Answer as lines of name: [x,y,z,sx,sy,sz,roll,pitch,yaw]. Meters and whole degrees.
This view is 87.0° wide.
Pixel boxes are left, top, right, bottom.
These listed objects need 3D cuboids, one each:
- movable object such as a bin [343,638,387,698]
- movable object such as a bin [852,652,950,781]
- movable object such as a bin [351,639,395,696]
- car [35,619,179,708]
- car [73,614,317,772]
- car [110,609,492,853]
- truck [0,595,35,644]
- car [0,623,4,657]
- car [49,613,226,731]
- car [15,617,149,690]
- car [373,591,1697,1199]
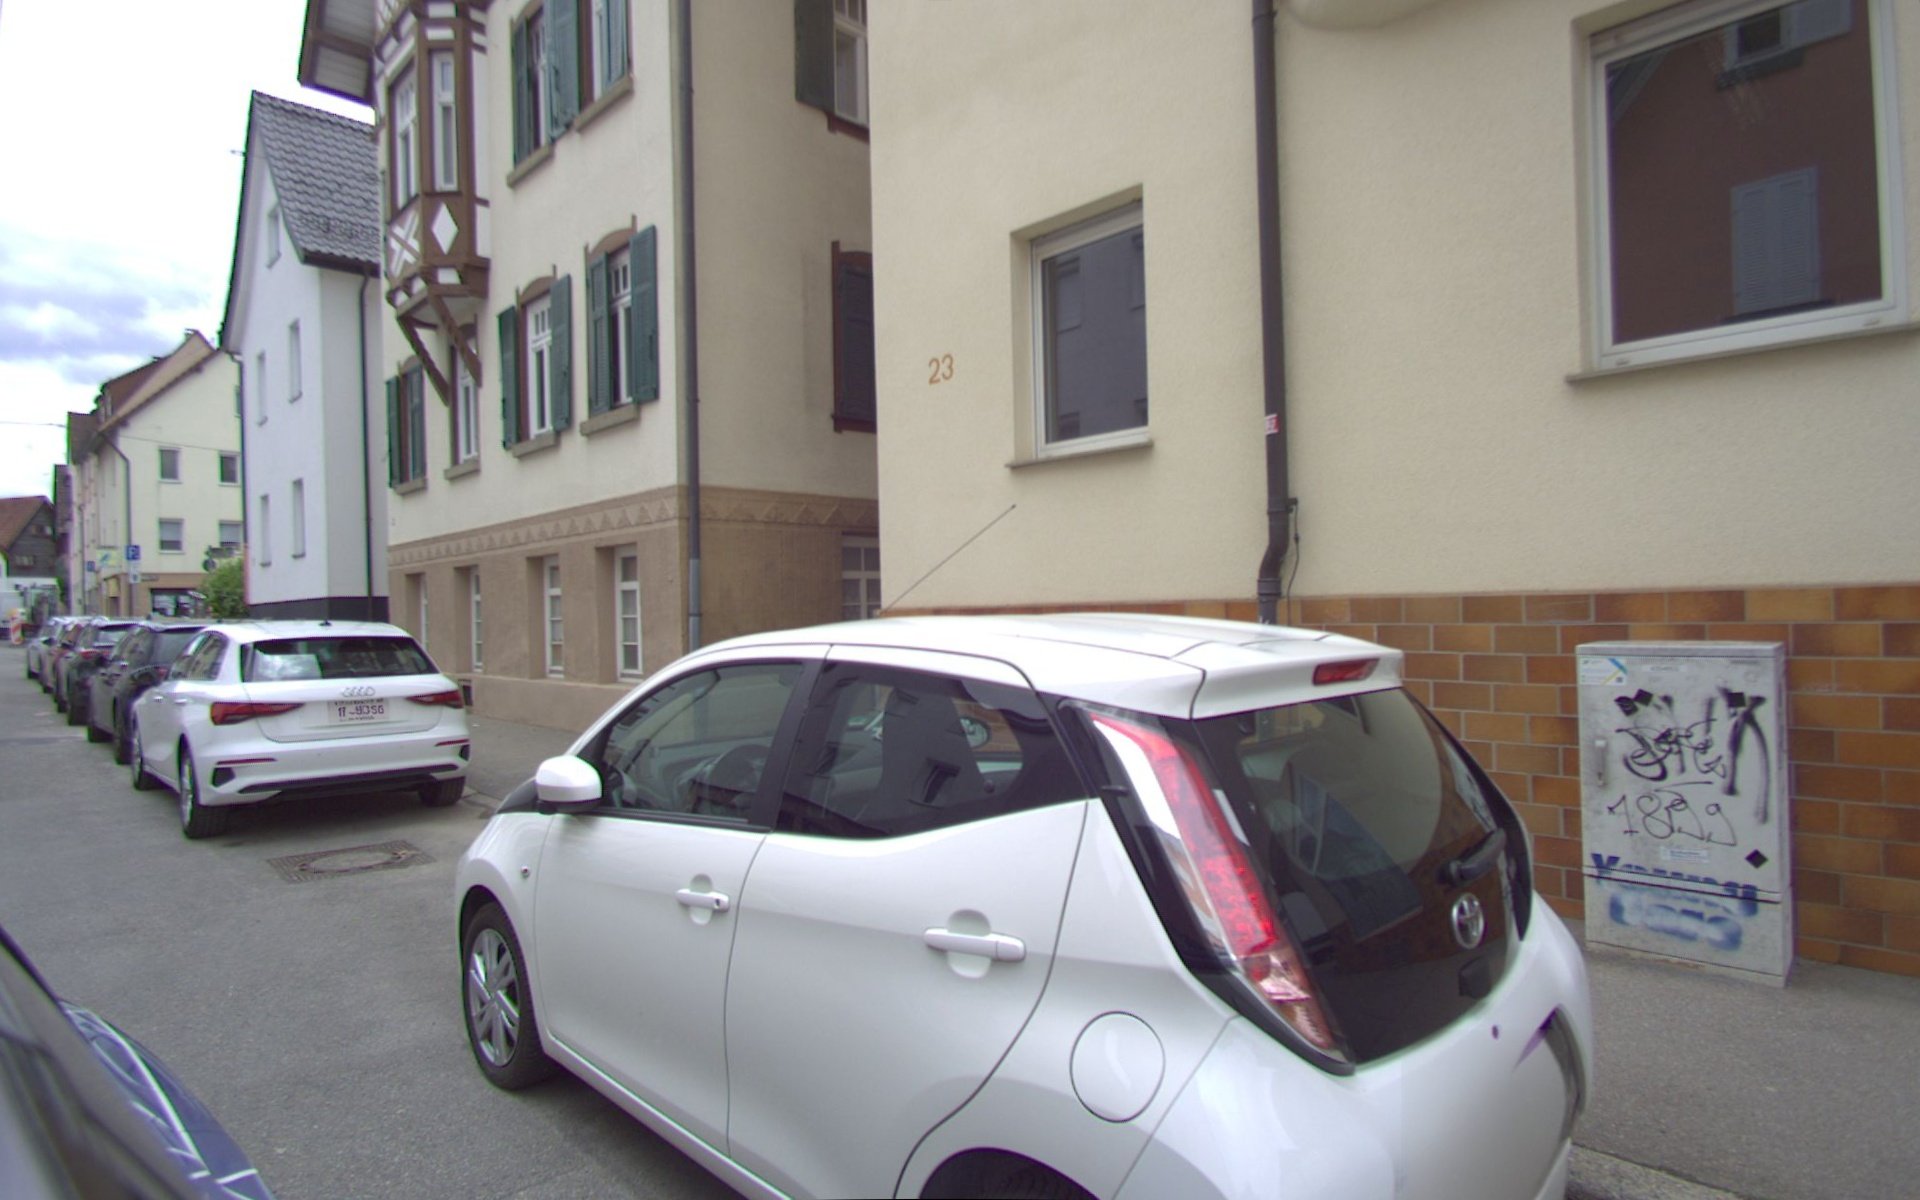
movable object such as a bin: [-10.582,1.197,17.998,0.508,1.023,0.604,-2,0,-45]
movable object such as a bin: [-0.463,0.893,7.973,0.547,0.931,0.498,-2,1,40]
movable object such as a bin: [-10.159,1.155,17.507,0.508,0.939,0.604,-2,0,-45]
car: [-16.144,1.121,19.085,1.731,1.460,4.069,3,-2,-45]
car: [-8.998,0.930,11.756,1.731,1.467,4.374,3,-2,-44]
car: [-5.537,0.826,8.237,1.731,1.443,4.373,3,-2,-45]
truck: [-49.070,0.959,52.119,5.487,2.410,1.759,0,0,44]
car: [-44.379,1.841,45.729,1.584,1.483,3.553,-5,3,-45]
car: [-12.568,0.995,15.371,1.731,1.521,4.088,3,-2,-44]
car: [-19.755,1.133,22.705,4.349,1.442,1.733,0,-2,42]
car: [-0.280,0.725,3.027,1.647,1.444,3.818,1,-1,-45]
